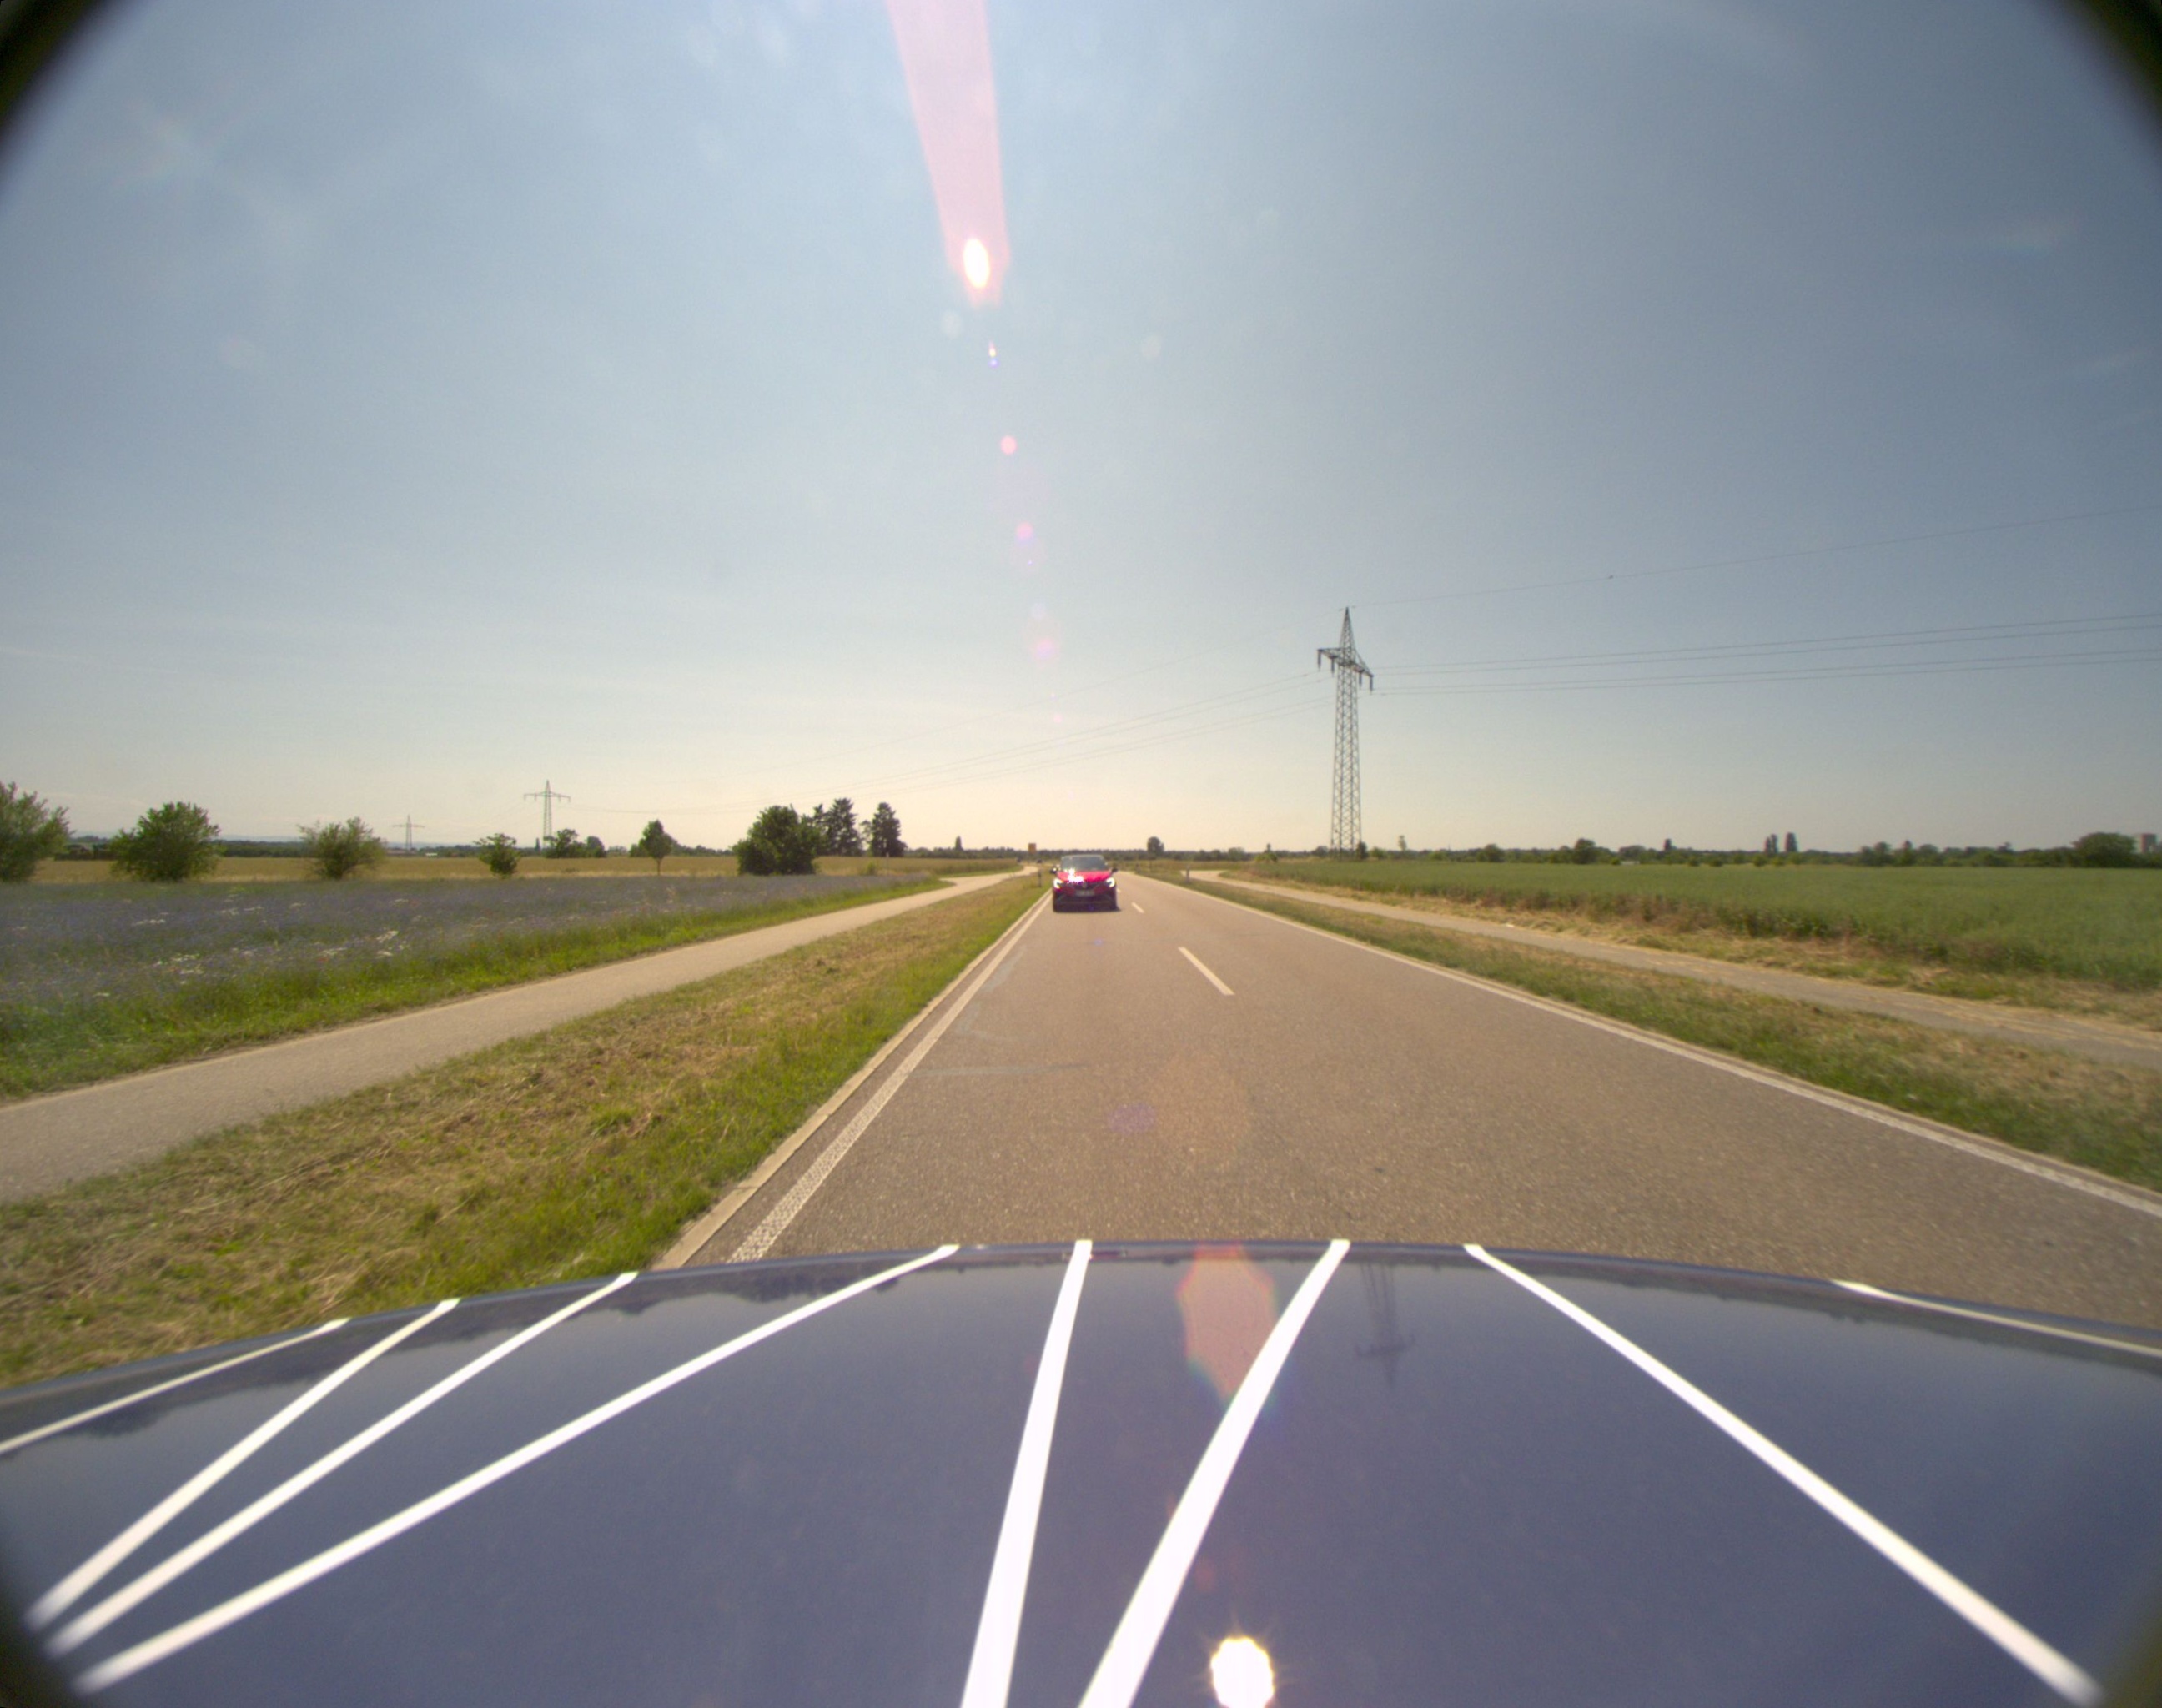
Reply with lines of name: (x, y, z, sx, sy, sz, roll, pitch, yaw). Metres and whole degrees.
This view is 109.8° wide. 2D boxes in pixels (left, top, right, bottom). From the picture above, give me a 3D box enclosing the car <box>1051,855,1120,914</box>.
car: (0.044, 0.836, 22.874, 1.827, 1.543, 4.448, -1, 0, -2)
